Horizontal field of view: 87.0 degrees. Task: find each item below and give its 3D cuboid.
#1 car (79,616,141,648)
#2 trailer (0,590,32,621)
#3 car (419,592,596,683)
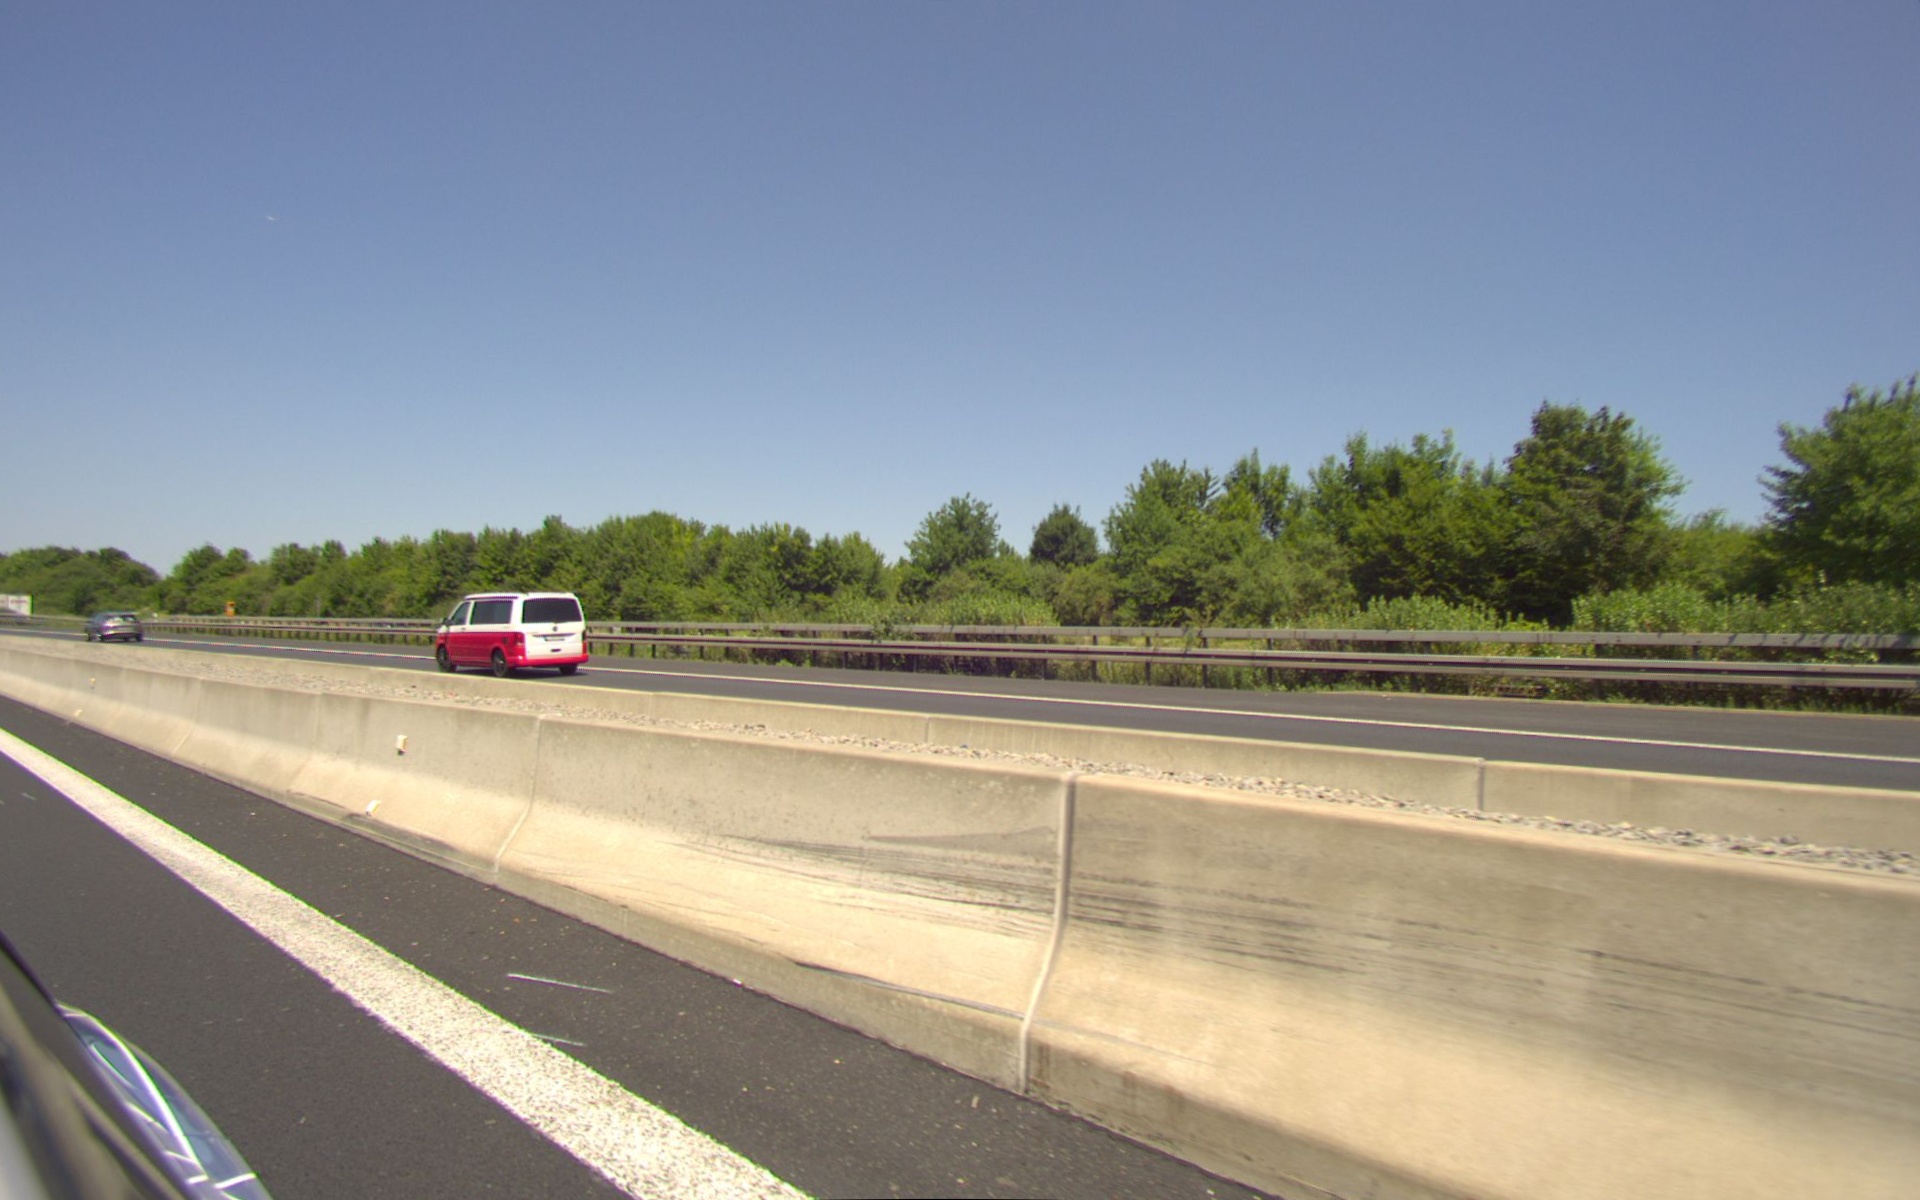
[{"bbox_3d":[-43.679,1.603,51.983,4.257,1.544,1.710,-1,0,40],"label":"car"},{"bbox_3d":[-128.238,0.753,135.325,14.050,4.027,3.082,0,-1,35],"label":"trailer"},{"bbox_3d":[-11.261,0.845,24.984,5.379,2.029,1.972,0,-1,42],"label":"car"}]
